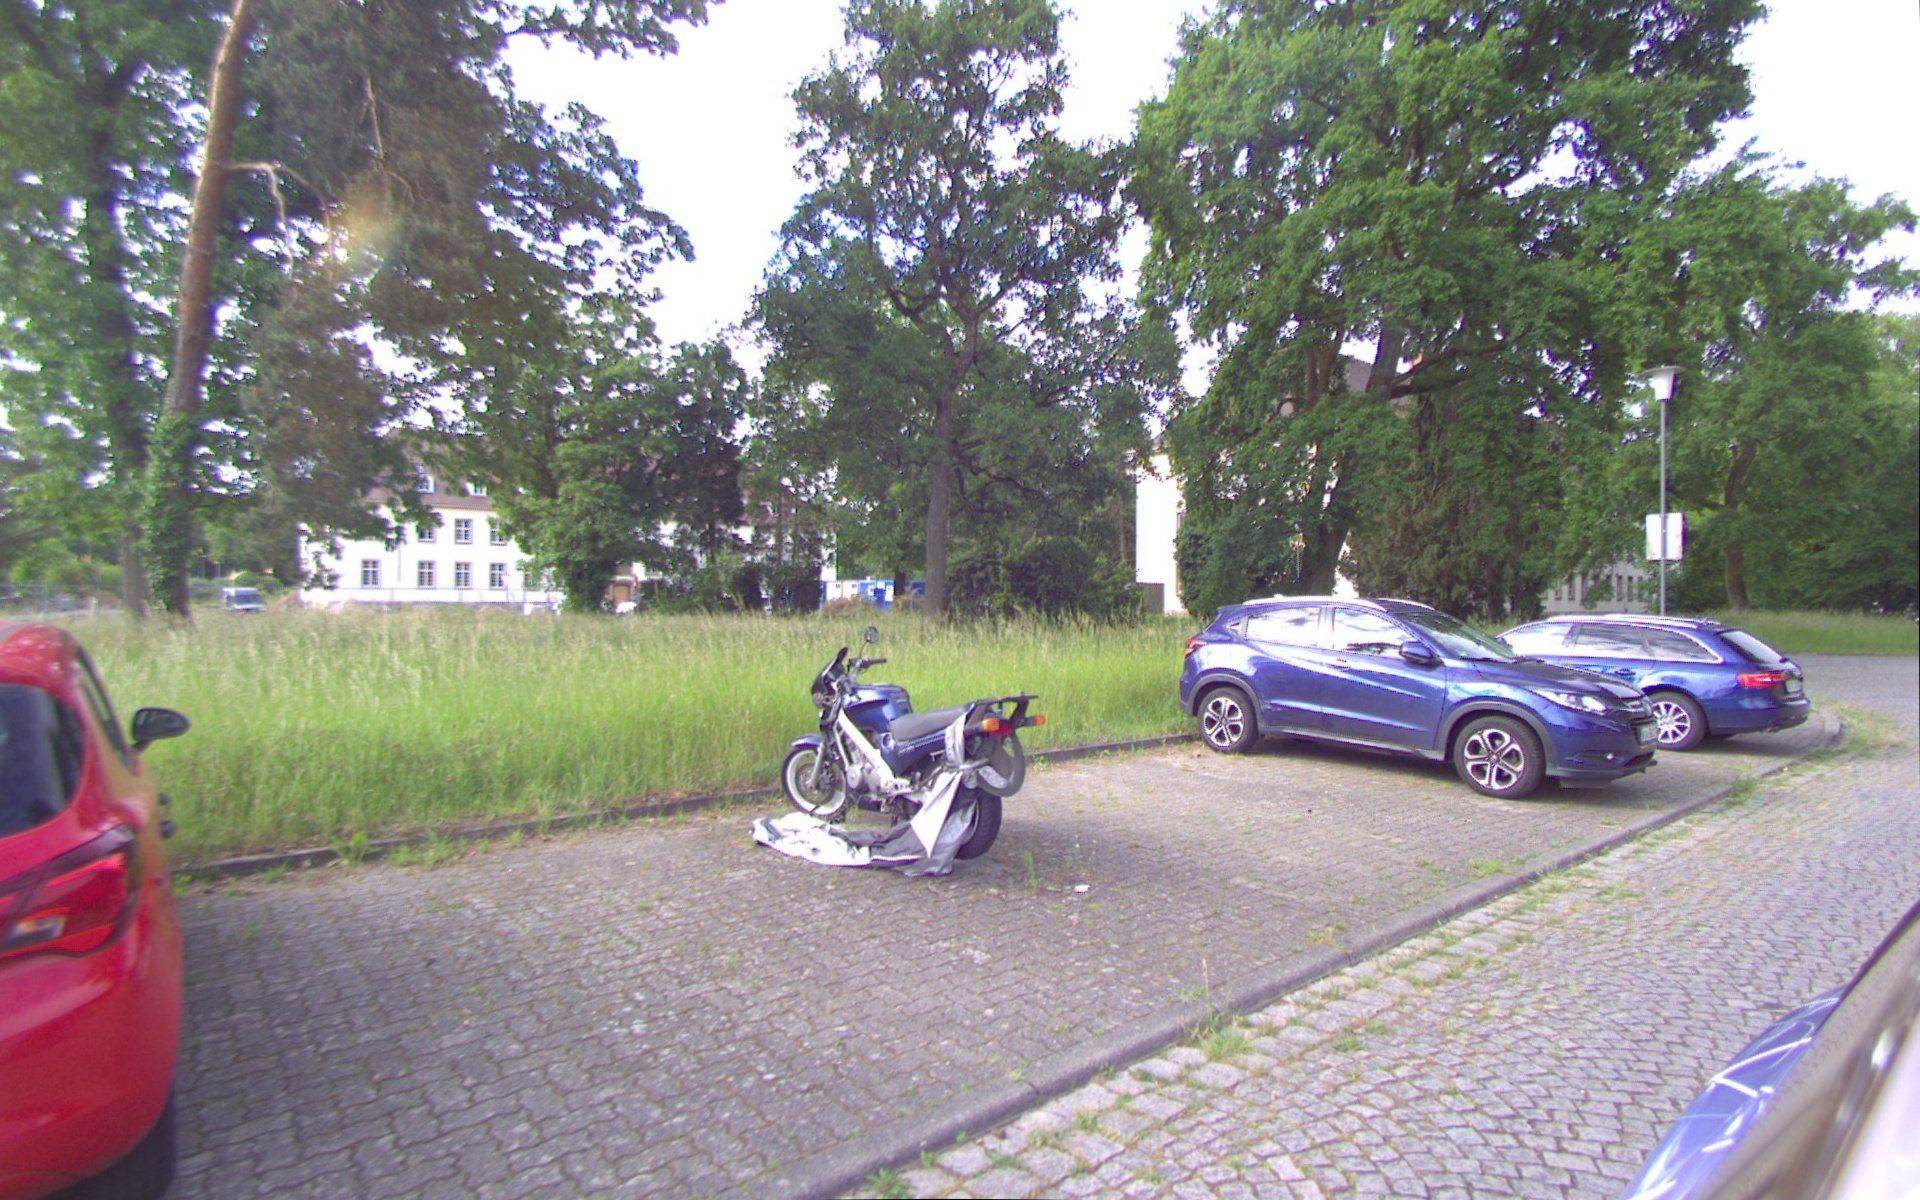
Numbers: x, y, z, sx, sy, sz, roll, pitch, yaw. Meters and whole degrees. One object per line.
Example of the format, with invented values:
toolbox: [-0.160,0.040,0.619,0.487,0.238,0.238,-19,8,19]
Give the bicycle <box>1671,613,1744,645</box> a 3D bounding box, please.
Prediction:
bicycle: [25.986,0.989,35.214,1.999,1.022,0.474,1,2,29]

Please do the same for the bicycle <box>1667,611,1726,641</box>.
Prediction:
bicycle: [28.804,1.025,39.605,1.792,1.101,0.548,1,2,29]

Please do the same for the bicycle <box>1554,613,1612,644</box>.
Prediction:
bicycle: [23.400,1.054,38.034,1.792,1.101,0.475,0,2,24]

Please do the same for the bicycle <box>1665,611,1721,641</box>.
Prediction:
bicycle: [29.164,1.023,40.291,1.735,1.101,0.548,1,2,29]

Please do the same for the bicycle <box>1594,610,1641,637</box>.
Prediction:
bicycle: [26.737,0.955,41.155,1.550,1.047,0.472,1,0,27]

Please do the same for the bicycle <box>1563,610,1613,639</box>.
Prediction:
bicycle: [24.738,0.970,39.886,1.546,1.102,0.559,1,0,20]

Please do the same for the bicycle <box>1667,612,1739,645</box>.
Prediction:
bicycle: [26.546,1.014,36.188,1.999,1.101,0.474,1,2,29]

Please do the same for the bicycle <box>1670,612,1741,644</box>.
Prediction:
bicycle: [26.979,0.998,36.648,1.999,1.101,0.474,1,2,29]

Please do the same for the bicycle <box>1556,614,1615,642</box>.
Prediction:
bicycle: [23.764,1.045,38.480,1.836,1.002,0.453,1,0,24]

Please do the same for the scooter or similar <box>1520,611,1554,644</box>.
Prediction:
scooter or similar: [21.970,1.047,38.559,0.378,1.210,1.063,1,-1,-37]

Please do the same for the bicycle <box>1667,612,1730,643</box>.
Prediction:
bicycle: [27.744,1.031,38.049,1.849,1.101,0.515,1,2,29]

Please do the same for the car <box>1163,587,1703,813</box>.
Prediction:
car: [4.227,0.716,9.629,1.862,1.593,4.272,1,1,-40]

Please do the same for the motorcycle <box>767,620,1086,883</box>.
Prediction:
motorcycle: [-0.301,0.801,6.249,0.596,1.291,2.265,1,0,-45]

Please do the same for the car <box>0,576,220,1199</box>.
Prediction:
car: [-3.502,0.687,3.080,1.708,1.524,3.846,1,1,-41]

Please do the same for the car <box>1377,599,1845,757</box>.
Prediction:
car: [7.798,0.791,12.574,1.860,1.483,4.519,1,1,-36]

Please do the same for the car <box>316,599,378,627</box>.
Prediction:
car: [-46.021,0.982,75.874,5.813,2.039,2.449,-2,-1,43]

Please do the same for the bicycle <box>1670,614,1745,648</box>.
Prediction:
bicycle: [25.699,1.048,34.824,1.999,1.101,0.474,1,2,29]

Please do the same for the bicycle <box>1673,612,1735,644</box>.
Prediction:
bicycle: [27.423,1.036,37.326,1.773,1.101,0.474,1,2,29]
